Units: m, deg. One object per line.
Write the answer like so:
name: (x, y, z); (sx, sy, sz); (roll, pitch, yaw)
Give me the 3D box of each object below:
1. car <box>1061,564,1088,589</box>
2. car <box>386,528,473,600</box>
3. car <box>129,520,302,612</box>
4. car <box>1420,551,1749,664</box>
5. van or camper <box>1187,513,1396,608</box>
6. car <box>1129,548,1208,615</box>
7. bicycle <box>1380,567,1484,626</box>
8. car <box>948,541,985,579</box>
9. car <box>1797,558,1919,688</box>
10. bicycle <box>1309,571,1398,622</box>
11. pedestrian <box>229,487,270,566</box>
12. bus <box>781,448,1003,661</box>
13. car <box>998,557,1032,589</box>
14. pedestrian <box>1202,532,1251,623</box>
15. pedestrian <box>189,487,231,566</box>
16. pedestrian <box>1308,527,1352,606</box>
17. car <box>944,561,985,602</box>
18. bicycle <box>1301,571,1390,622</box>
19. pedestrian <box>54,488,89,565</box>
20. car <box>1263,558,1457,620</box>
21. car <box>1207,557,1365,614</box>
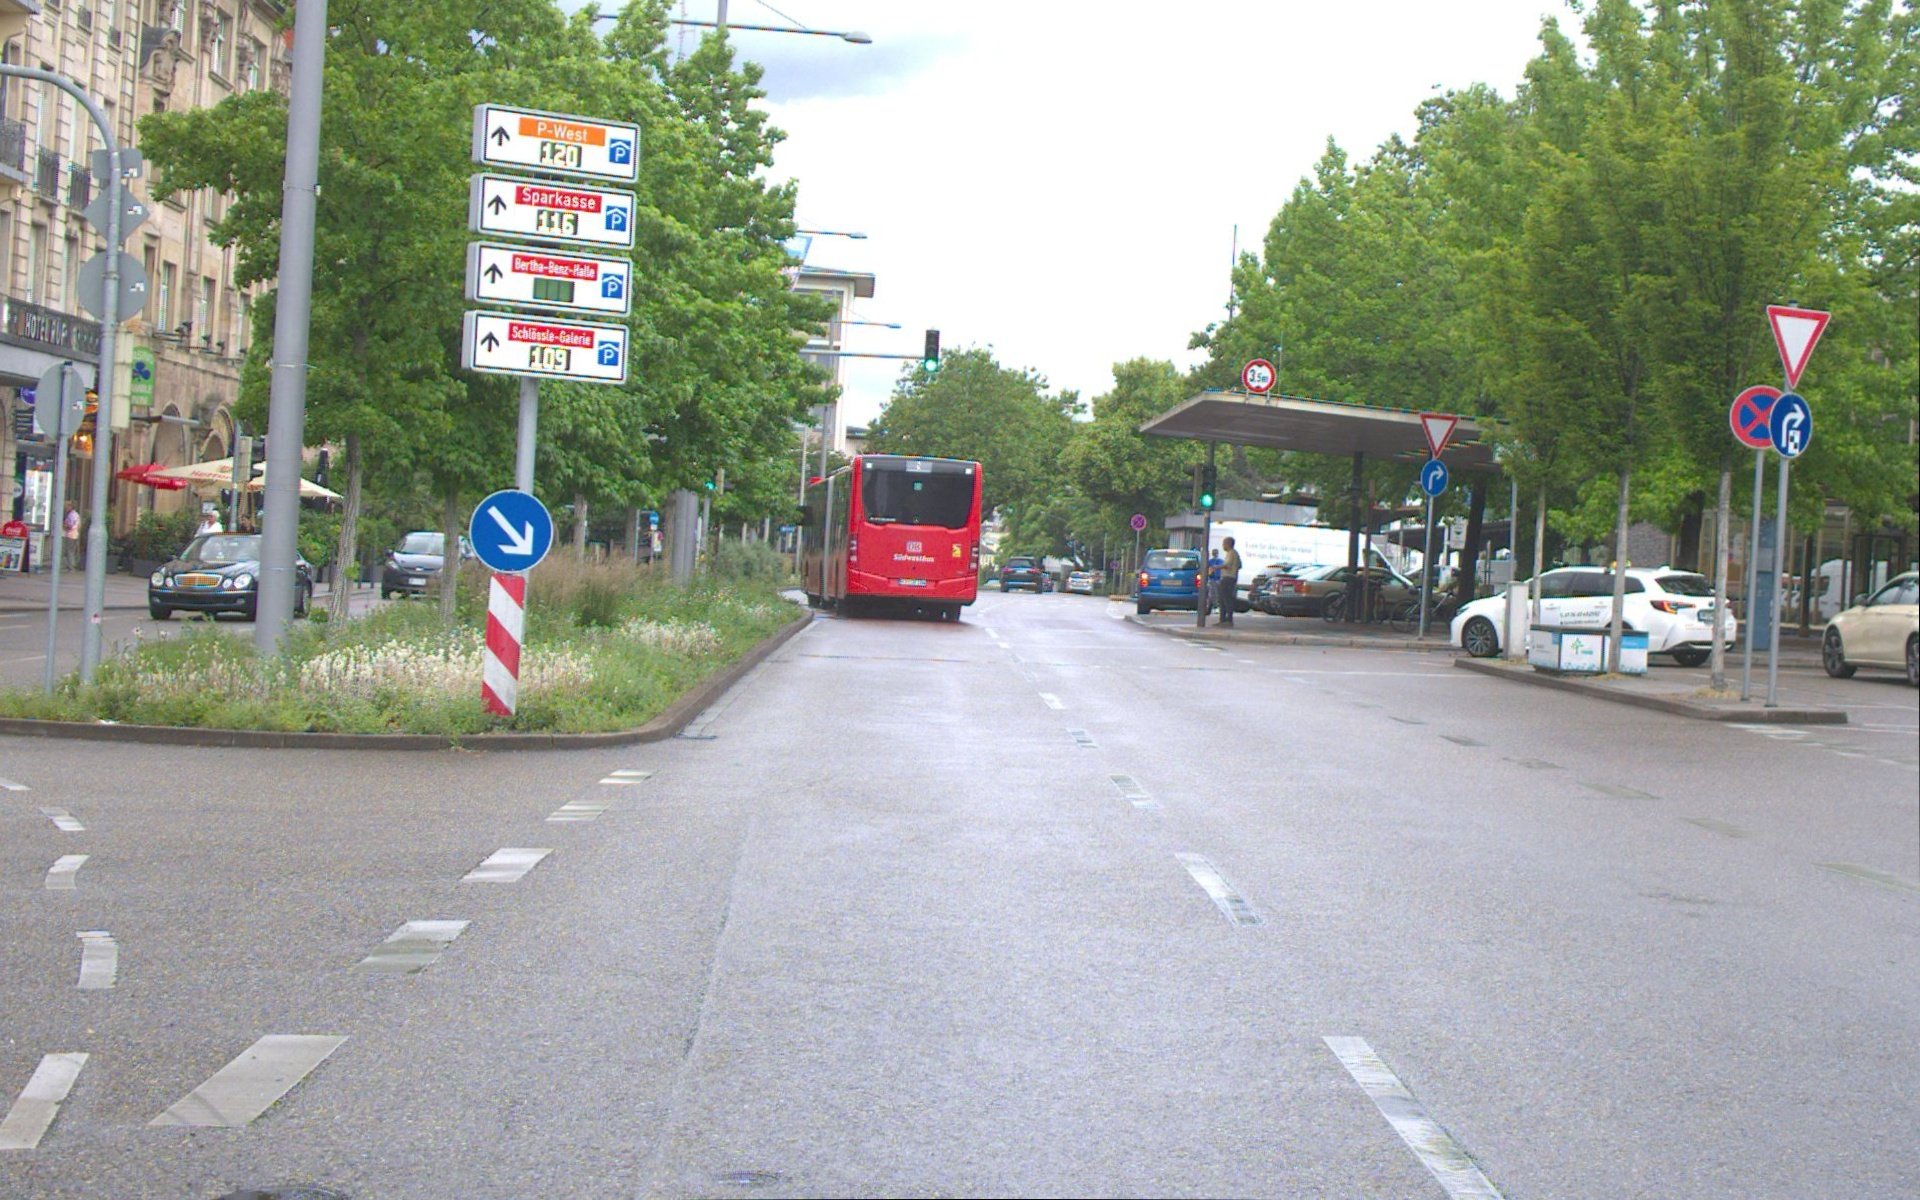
car: (7.516, -1.554, 225.563); (1.644, 1.655, 3.650); (1, 0, 0)
car: (-11.405, -0.775, 74.077); (1.676, 1.507, 3.864); (1, 1, -6)
car: (-12.066, -0.551, 55.926); (1.955, 1.418, 4.000); (1, 1, 0)
car: (9.247, 0.087, 51.243); (1.758, 1.540, 4.775); (2, 0, -40)
van or camper: (9.923, -1.170, 102.729); (5.945, 2.753, 2.199); (0, 0, -27)
car: (5.176, -0.450, 85.393); (1.859, 1.564, 3.999); (2, 0, 4)
bicycle: (8.637, -0.064, 62.945); (1.827, 1.052, 0.420); (1, 0, 0)
car: (0.350, -2.182, 188.534); (1.993, 2.007, 4.000); (1, 0, 0)
car: (12.777, 0.283, 44.637); (1.993, 1.594, 4.959); (1, 1, -8)
bicycle: (8.183, -0.070, 71.486); (1.827, 1.052, 0.420); (1, 0, -18)
pedestrian: (-15.086, -1.554, 72.980); (0.681, 1.658, 0.807); (1, 0, 0)
bus: (-1.562, -0.915, 70.320); (3.544, 3.966, 11.174); (1, 1, -6)
car: (2.724, -1.338, 170.653); (1.595, 1.555, 3.650); (1, 0, 0)
pedestrian: (5.183, -0.428, 66.875); (0.746, 1.741, 0.836); (2, 0, -8)
pedestrian: (-15.926, -1.558, 73.020); (0.681, 1.658, 0.807); (1, 0, 3)
pedestrian: (8.725, -0.773, 81.015); (0.856, 1.829, 1.190); (1, 0, -1)
car: (0.222, -0.952, 172.843); (1.993, 2.007, 4.000); (1, 0, 0)
bicycle: (8.069, -0.077, 71.934); (1.827, 1.052, 0.420); (1, 0, -18)
pedestrian: (-19.271, -1.589, 74.543); (0.666, 1.658, 0.537); (1, 0, -9)
car: (9.561, -0.263, 82.271); (4.184, 1.321, 1.841); (2, 0, -20)
car: (9.164, -0.404, 96.683); (3.986, 1.438, 1.865); (2, 0, -26)
